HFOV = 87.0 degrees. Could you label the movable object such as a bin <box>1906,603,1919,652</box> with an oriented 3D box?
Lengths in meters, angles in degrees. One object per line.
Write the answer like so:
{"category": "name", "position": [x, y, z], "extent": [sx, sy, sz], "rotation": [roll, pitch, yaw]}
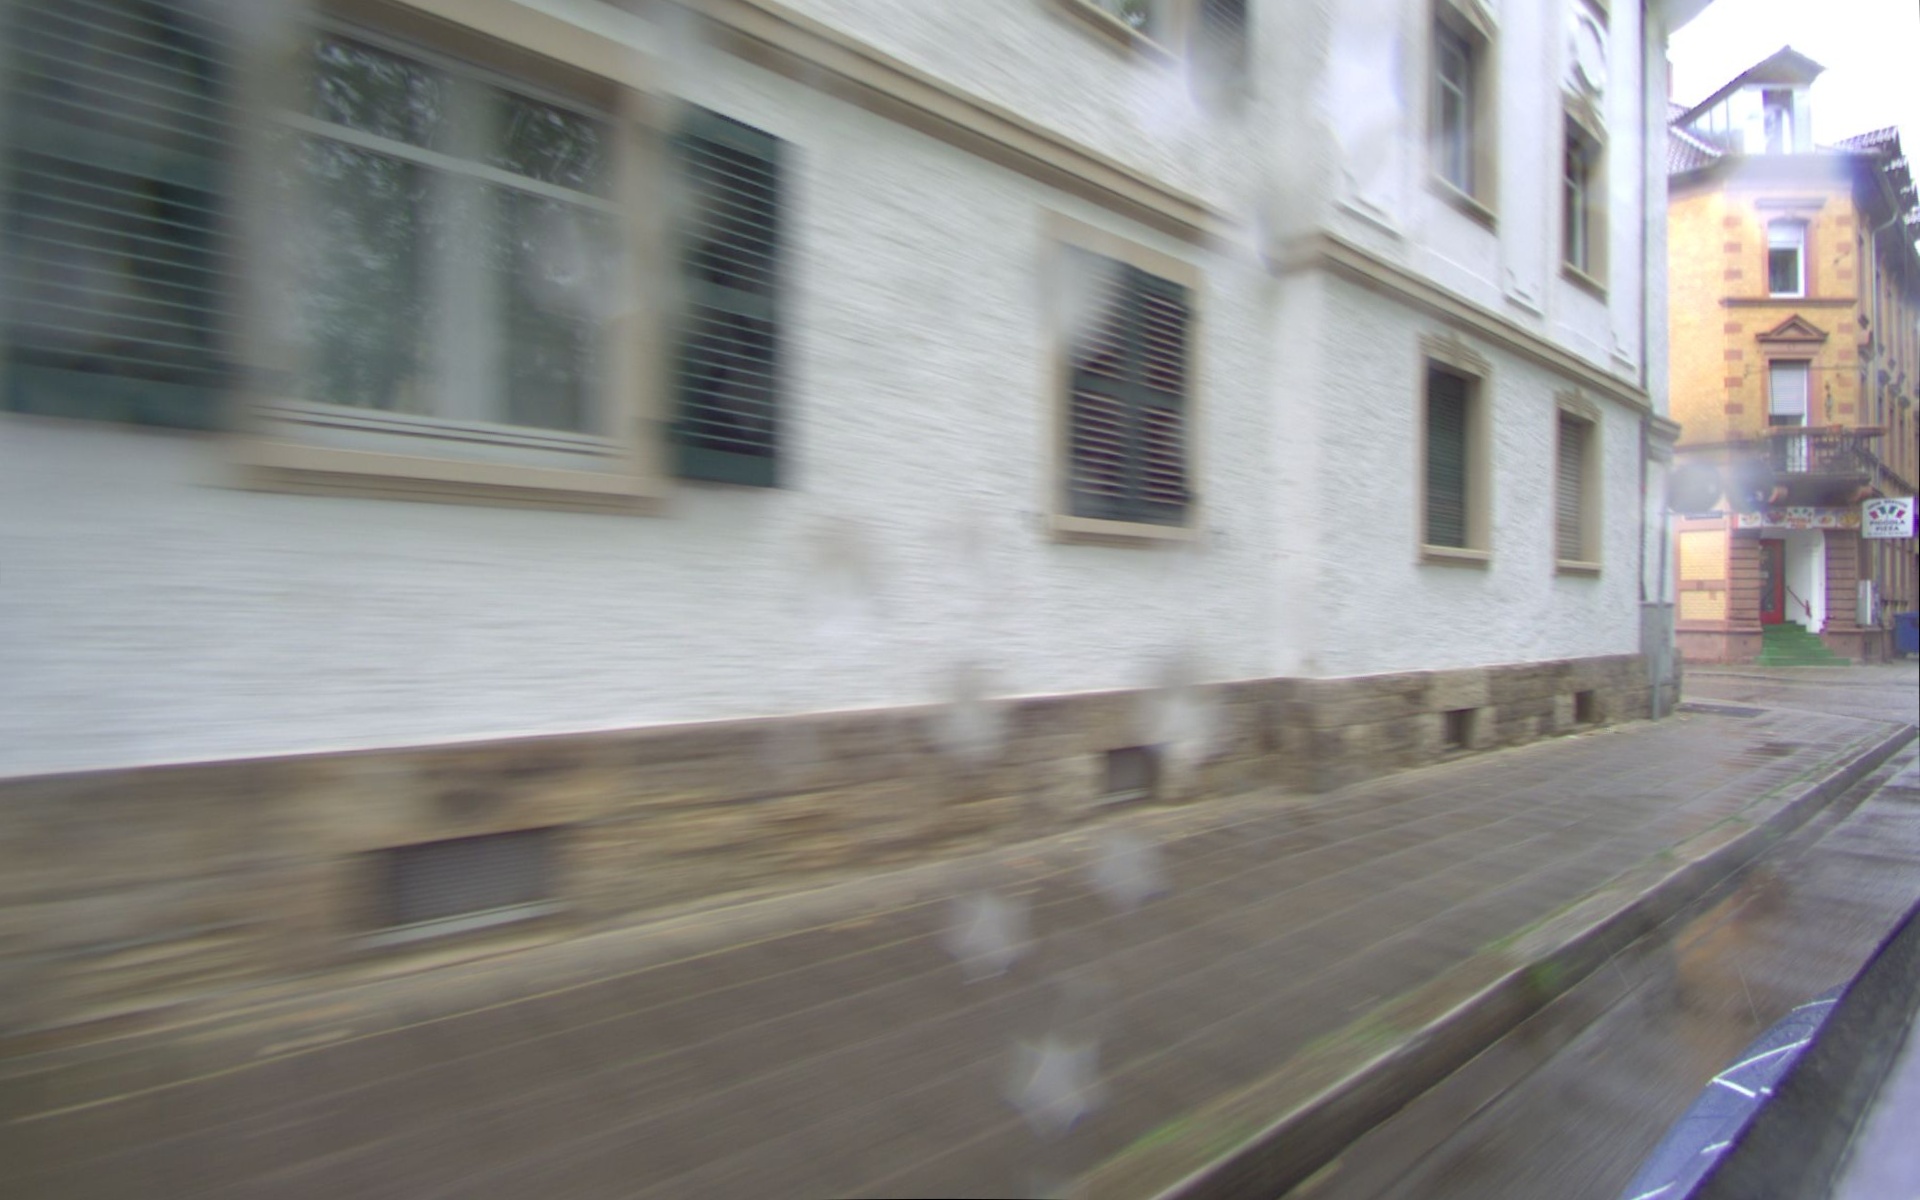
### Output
{"category": "movable object such as a bin", "position": [26.761, 0.767, 27.783], "extent": [1.343, 1.318, 1.023], "rotation": [0, 1, -41]}
